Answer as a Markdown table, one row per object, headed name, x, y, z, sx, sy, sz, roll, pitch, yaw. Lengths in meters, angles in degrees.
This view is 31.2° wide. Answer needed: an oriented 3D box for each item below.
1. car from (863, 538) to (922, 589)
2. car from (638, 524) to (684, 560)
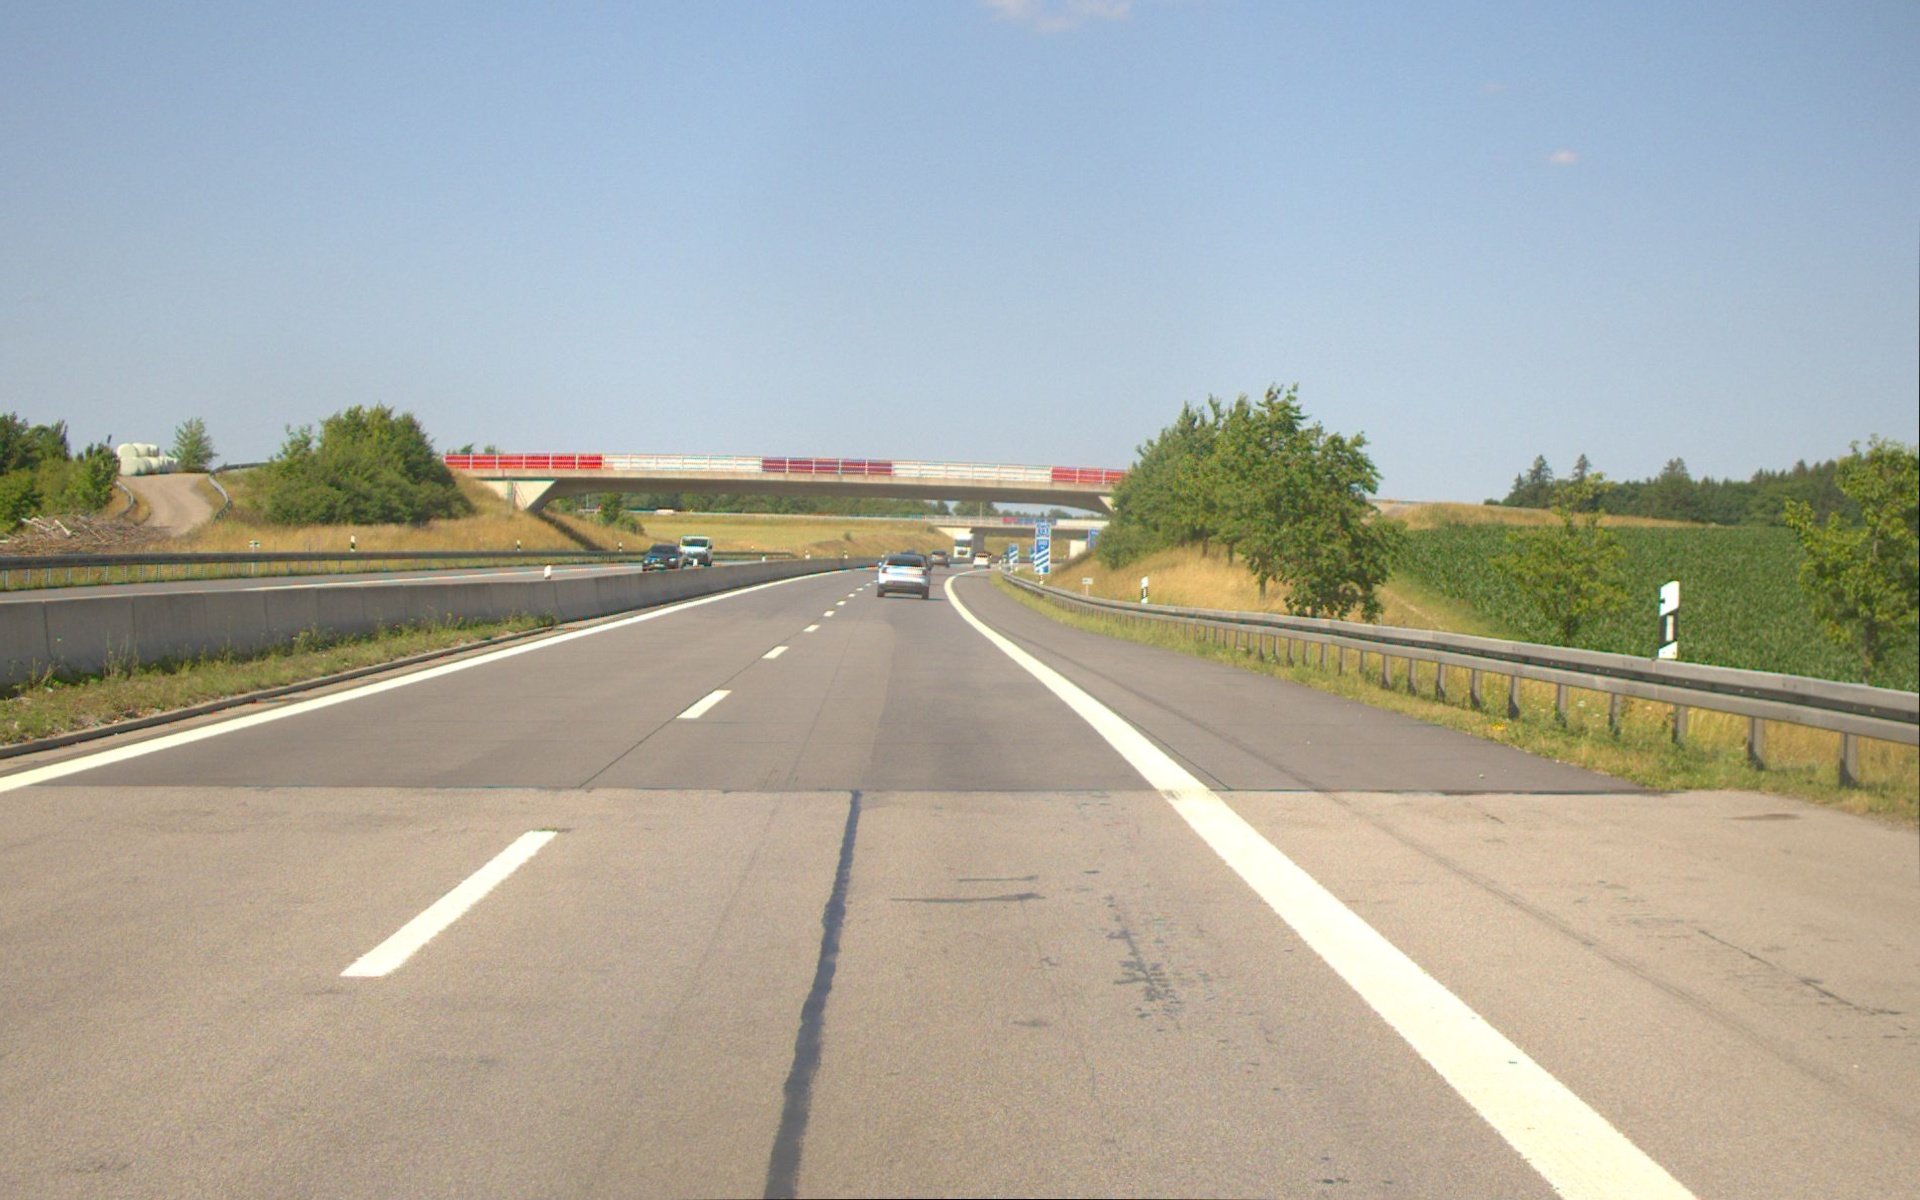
| name | x | y | z | sx | sy | sz | roll | pitch | yaw |
| --- | --- | --- | --- | --- | --- | --- | --- | --- | --- |
| car | -2.388 | -1.312 | 122.902 | 1.993 | 1.725 | 4.869 | 2 | 1 | 0 |
| car | -15.604 | -3.036 | 179.383 | 1.907 | 1.679 | 5.007 | 4 | 1 | -1 |
